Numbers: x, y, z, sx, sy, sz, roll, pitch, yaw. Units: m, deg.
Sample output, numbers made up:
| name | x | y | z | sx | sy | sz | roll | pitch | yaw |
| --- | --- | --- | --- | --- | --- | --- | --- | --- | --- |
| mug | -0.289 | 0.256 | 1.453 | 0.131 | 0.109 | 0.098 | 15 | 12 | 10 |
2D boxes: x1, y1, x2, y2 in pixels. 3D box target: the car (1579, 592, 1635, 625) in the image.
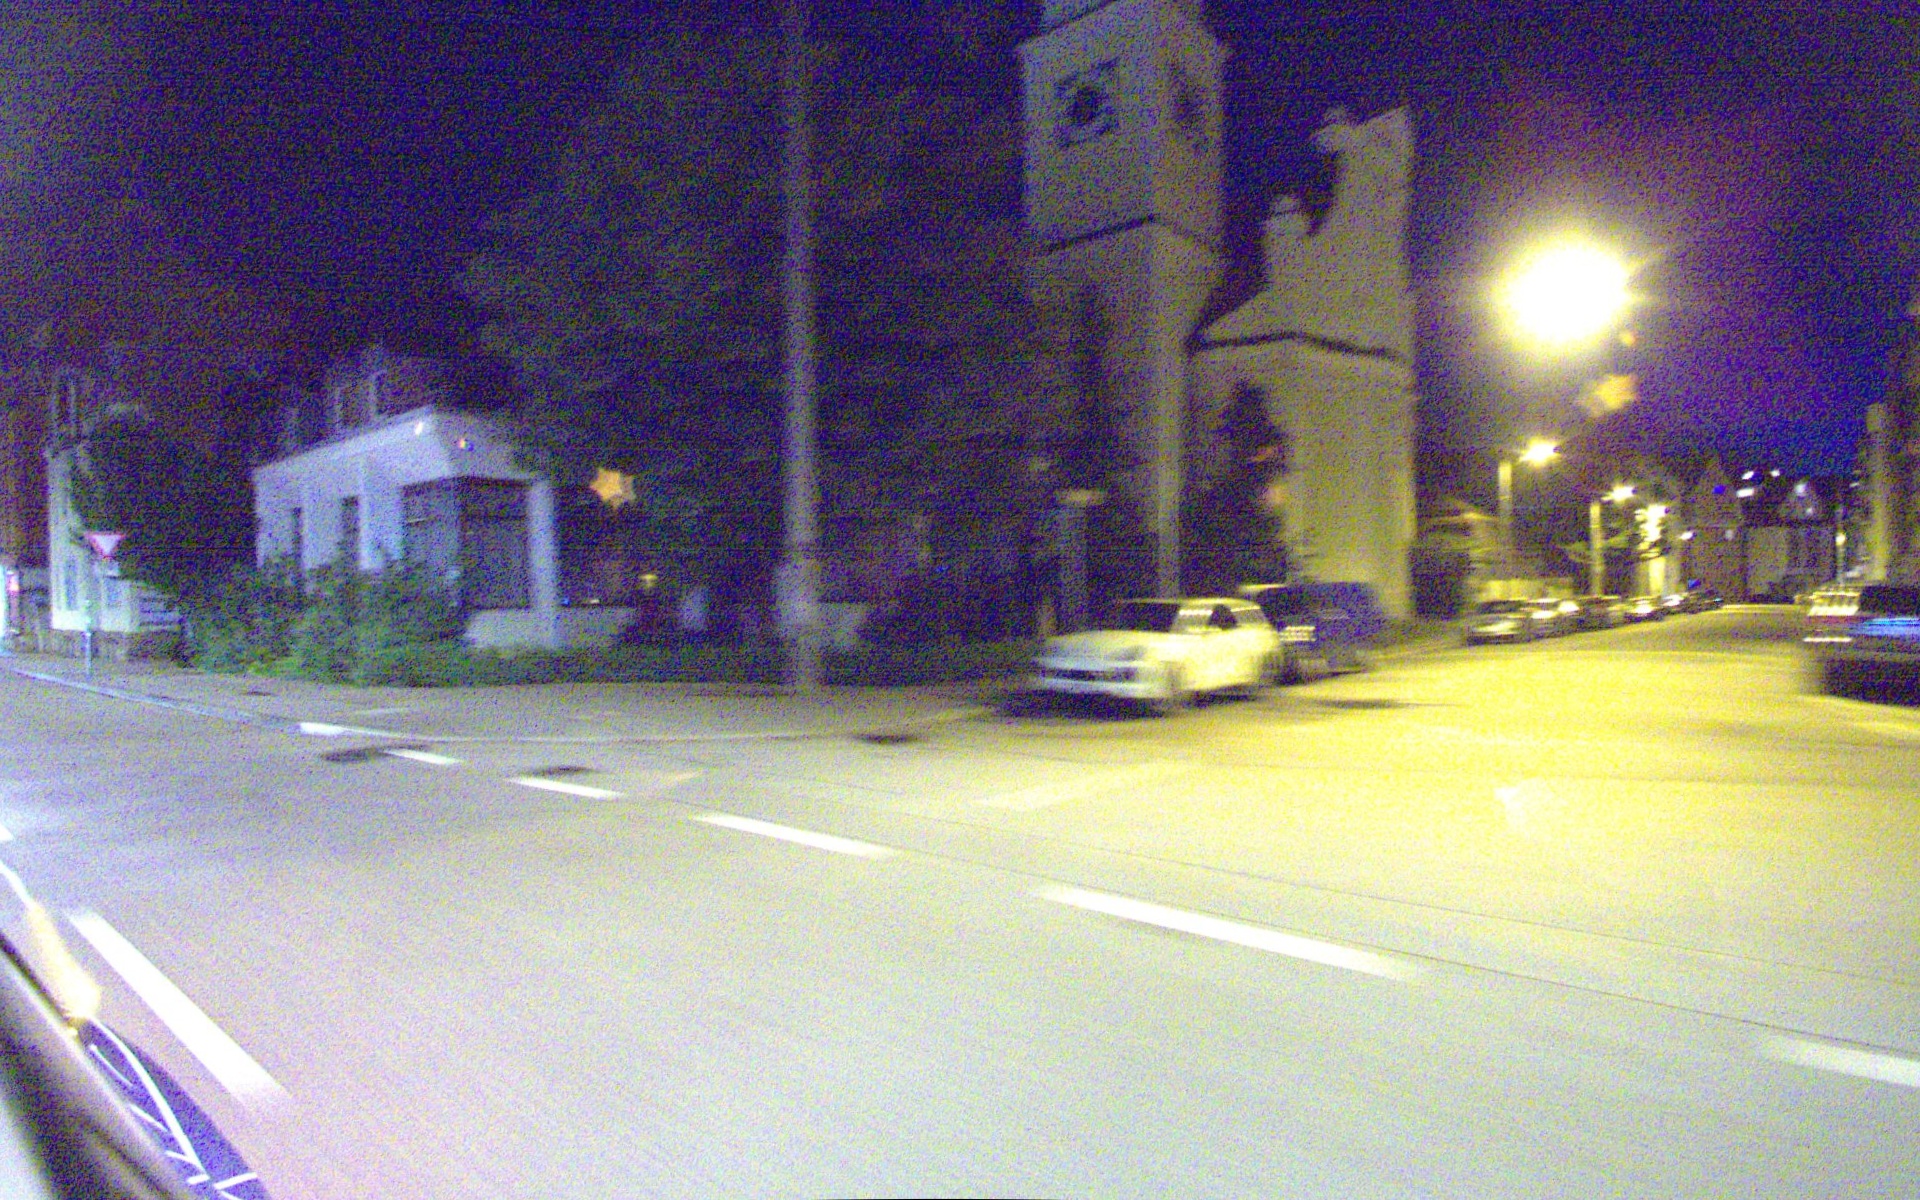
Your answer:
| name | x | y | z | sx | sy | sz | roll | pitch | yaw |
| --- | --- | --- | --- | --- | --- | --- | --- | --- | --- |
| car | 31.785 | 0.435 | 49.663 | 1.861 | 1.549 | 3.947 | -1 | -1 | 39 |

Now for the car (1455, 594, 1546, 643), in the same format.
| name | x | y | z | sx | sy | sz | roll | pitch | yaw |
| --- | --- | --- | --- | --- | --- | --- | --- | --- | --- |
| car | 17.949 | 0.583 | 33.551 | 1.901 | 1.517 | 3.947 | -3 | -1 | 39 |

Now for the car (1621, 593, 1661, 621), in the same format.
| name | x | y | z | sx | sy | sz | roll | pitch | yaw |
| --- | --- | --- | --- | --- | --- | --- | --- | --- | --- |
| car | 41.826 | 0.432 | 62.132 | 1.695 | 1.627 | 3.642 | -1 | -1 | 39 |

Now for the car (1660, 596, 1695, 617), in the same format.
| name | x | y | z | sx | sy | sz | roll | pitch | yaw |
| --- | --- | --- | --- | --- | --- | --- | --- | --- | --- |
| car | 53.795 | 0.494 | 75.855 | 1.899 | 1.559 | 3.743 | -1 | -1 | 39 |

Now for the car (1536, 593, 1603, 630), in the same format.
| name | x | y | z | sx | sy | sz | roll | pitch | yaw |
| --- | --- | --- | --- | --- | --- | --- | --- | --- | --- |
| car | 25.321 | 0.465 | 41.981 | 1.862 | 1.481 | 3.947 | -1 | -1 | 39 |

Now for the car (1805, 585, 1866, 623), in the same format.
| name | x | y | z | sx | sy | sz | roll | pitch | yaw |
| --- | --- | --- | --- | --- | --- | --- | --- | --- | --- |
| car | 41.588 | 0.188 | 48.150 | 1.930 | 1.727 | 4.364 | -1 | -1 | 37 |

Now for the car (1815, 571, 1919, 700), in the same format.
| name | x | y | z | sx | sy | sz | roll | pitch | yaw |
| --- | --- | --- | --- | --- | --- | --- | --- | --- | --- |
| car | 14.607 | 0.445 | 15.629 | 1.957 | 1.767 | 4.292 | 1 | 2 | 42 |

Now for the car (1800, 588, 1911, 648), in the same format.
| name | x | y | z | sx | sy | sz | roll | pitch | yaw |
| --- | --- | --- | --- | --- | --- | --- | --- | --- | --- |
| car | 23.989 | 0.455 | 27.251 | 1.920 | 1.467 | 4.159 | -1 | -1 | 37 |

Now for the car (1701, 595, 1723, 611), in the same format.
| name | x | y | z | sx | sy | sz | roll | pitch | yaw |
| --- | --- | --- | --- | --- | --- | --- | --- | --- | --- |
| car | 74.208 | 0.297 | 99.881 | 1.586 | 1.586 | 3.523 | -1 | -1 | 39 |

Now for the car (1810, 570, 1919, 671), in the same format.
| name | x | y | z | sx | sy | sz | roll | pitch | yaw |
| --- | --- | --- | --- | --- | --- | --- | --- | --- | --- |
| car | 18.262 | 0.327 | 20.068 | 1.961 | 1.767 | 4.293 | 3 | 3 | 42 |

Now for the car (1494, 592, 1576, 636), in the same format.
| name | x | y | z | sx | sy | sz | roll | pitch | yaw |
| --- | --- | --- | --- | --- | --- | --- | --- | --- | --- |
| car | 21.492 | 0.508 | 37.772 | 1.828 | 1.517 | 3.944 | -3 | -1 | 42 |

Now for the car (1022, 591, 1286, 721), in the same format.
| name | x | y | z | sx | sy | sz | roll | pitch | yaw |
| --- | --- | --- | --- | --- | --- | --- | --- | --- | --- |
| car | 3.065 | 0.722 | 15.223 | 2.001 | 1.641 | 4.614 | -1 | -1 | 39 |

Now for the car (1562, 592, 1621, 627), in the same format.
| name | x | y | z | sx | sy | sz | roll | pitch | yaw |
| --- | --- | --- | --- | --- | --- | --- | --- | --- | --- |
| car | 28.452 | 0.423 | 45.574 | 1.798 | 1.530 | 3.636 | -1 | -1 | 39 |

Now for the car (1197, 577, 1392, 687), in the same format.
| name | x | y | z | sx | sy | sz | roll | pitch | yaw |
| --- | --- | --- | --- | --- | --- | --- | --- | --- | --- |
| car | 6.762 | 0.573 | 20.081 | 2.026 | 1.904 | 4.939 | -2 | -1 | 39 |
